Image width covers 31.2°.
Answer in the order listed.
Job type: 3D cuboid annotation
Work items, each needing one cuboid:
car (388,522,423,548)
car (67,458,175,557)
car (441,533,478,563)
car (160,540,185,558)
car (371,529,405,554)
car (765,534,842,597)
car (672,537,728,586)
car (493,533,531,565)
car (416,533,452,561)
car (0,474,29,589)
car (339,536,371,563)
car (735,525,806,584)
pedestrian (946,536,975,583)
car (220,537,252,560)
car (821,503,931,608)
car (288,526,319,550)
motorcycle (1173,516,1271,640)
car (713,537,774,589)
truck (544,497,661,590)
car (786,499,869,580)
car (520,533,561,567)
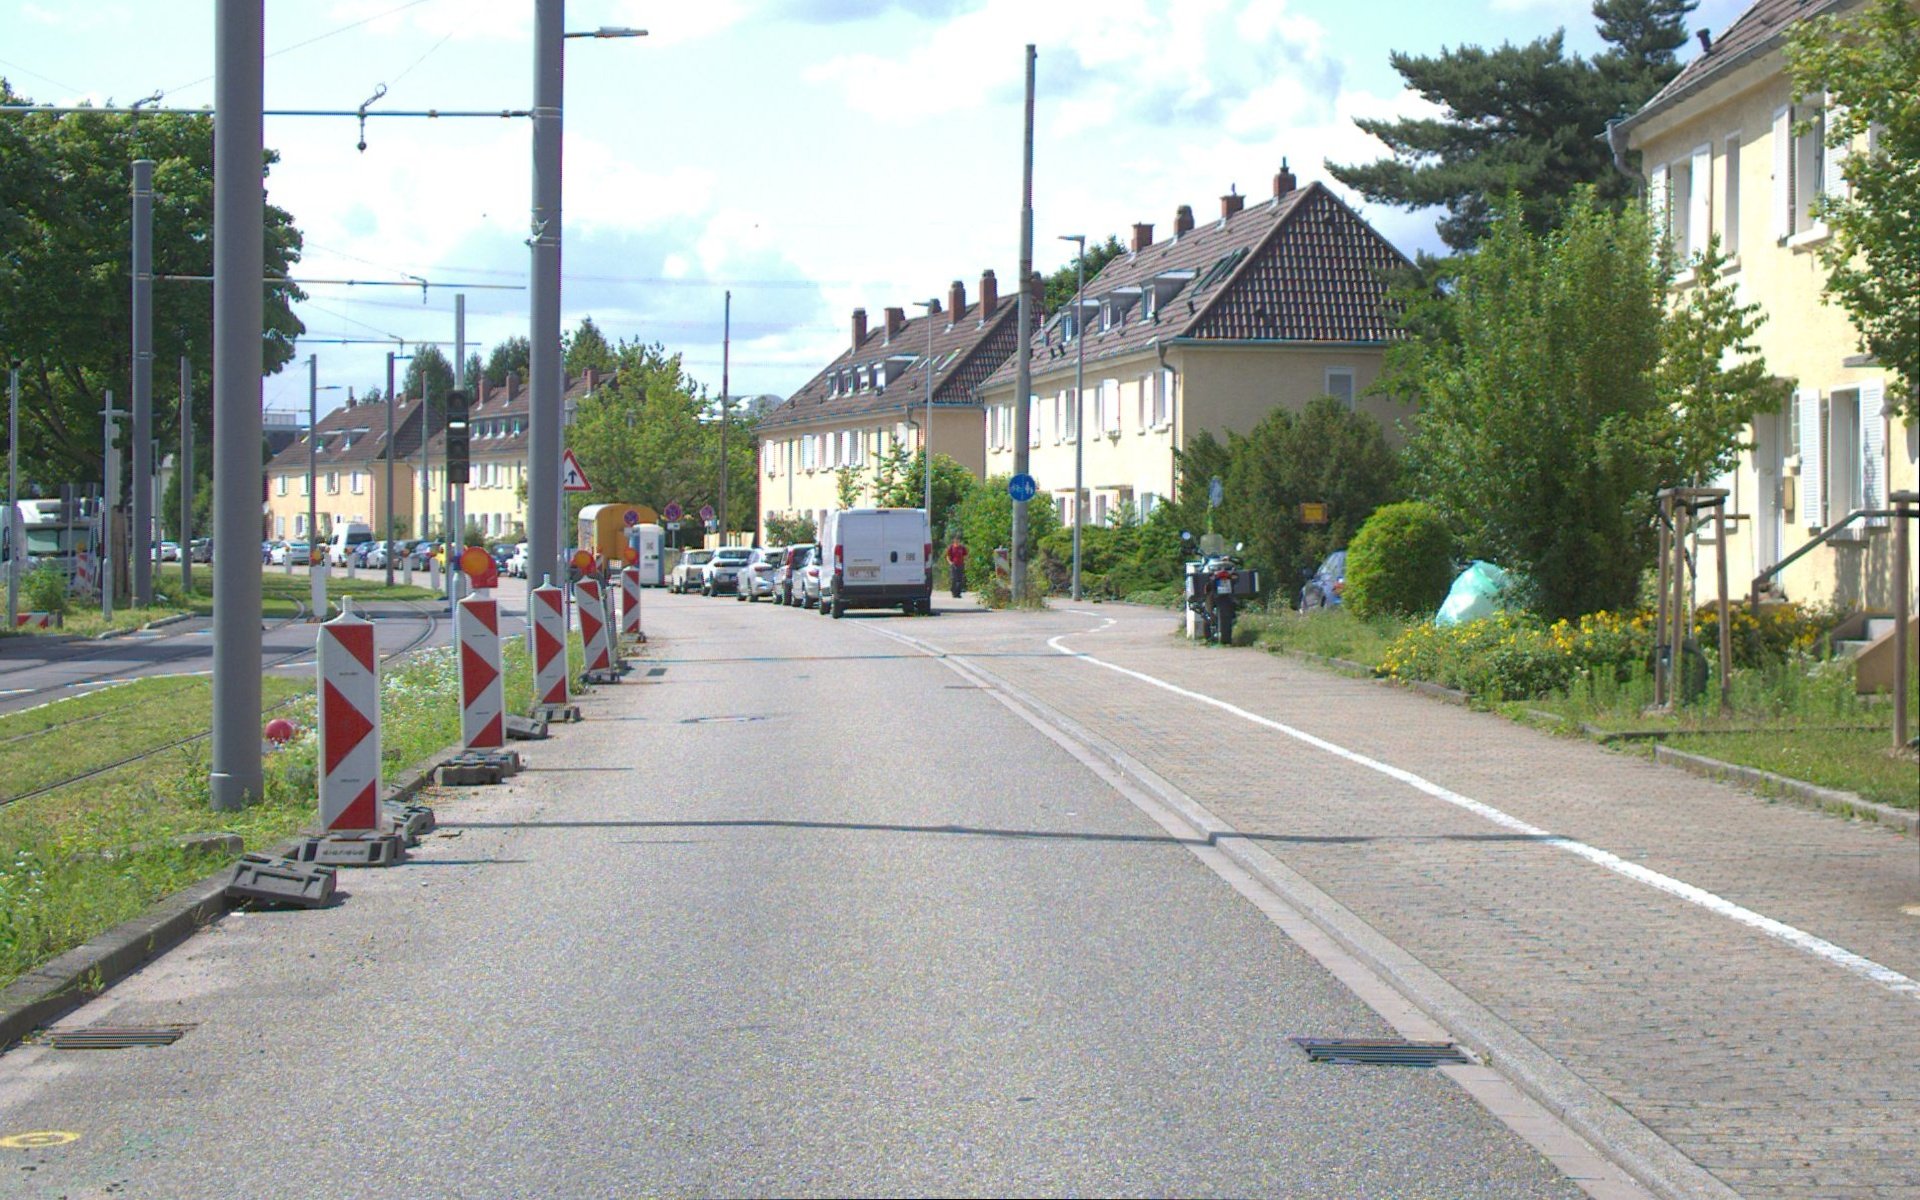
[{"bbox_3d":[-28.778,-3.386,178.485,1.257,1.346,2.666,0,1,-21],"label":"car"},{"bbox_3d":[-20.602,-2.268,84.605,2.406,2.362,4.881,0,2,-12],"label":"car"},{"bbox_3d":[-24.266,-2.532,166.666,1.257,1.421,2.666,0,1,-19],"label":"car"},{"bbox_3d":[-52.732,-3.409,230.134,1.257,1.182,2.666,0,1,-21],"label":"car"},{"bbox_3d":[-30.338,-3.113,182.327,1.257,1.346,2.666,0,1,-21],"label":"car"},{"bbox_3d":[-3.965,-0.879,86.698,1.567,1.546,3.790,0,1,-8],"label":"car"},{"bbox_3d":[-8.383,-1.266,110.799,1.567,1.546,3.480,0,1,-8],"label":"car"},{"bbox_3d":[-20.202,-2.312,155.026,1.257,1.421,2.666,0,1,-18],"label":"car"},{"bbox_3d":[-26.406,-2.671,172.585,1.257,1.421,2.666,0,1,-21],"label":"car"},{"bbox_3d":[-20.978,-1.439,72.332,2.406,2.330,4.881,0,1,-12],"label":"car"},{"bbox_3d":[-32.814,-2.737,186.444,1.165,1.421,2.666,0,1,-22],"label":"car"},{"bbox_3d":[-5.104,-1.234,92.404,1.567,1.546,3.790,0,1,-8],"label":"car"},{"bbox_3d":[0.014,-1.083,91.531,0.632,1.250,0.727,0,1,-10],"label":"pedestrian"},{"bbox_3d":[-45.270,-3.232,214.966,1.257,1.421,2.666,0,1,-29],"label":"car"},{"bbox_3d":[-1.806,-0.948,72.248,2.065,2.142,4.879,0,1,-4],"label":"car"},{"bbox_3d":[-38.439,-3.628,201.198,1.257,1.421,2.666,0,1,-23],"label":"car"},{"bbox_3d":[3.519,-0.311,46.336,1.066,1.630,2.084,0,1,-2],"label":"motorcycle"},{"bbox_3d":[-6.596,-1.138,104.445,1.567,1.546,3.480,0,1,-8],"label":"car"},{"bbox_3d":[-14.018,-2.222,134.193,2.639,3.482,9.441,0,1,-18],"label":"truck"},{"bbox_3d":[-3.175,-1.445,81.808,1.567,1.891,3.790,0,1,-8],"label":"car"},{"bbox_3d":[-17.876,-2.124,146.424,1.257,1.421,2.666,0,1,-18],"label":"car"}]
